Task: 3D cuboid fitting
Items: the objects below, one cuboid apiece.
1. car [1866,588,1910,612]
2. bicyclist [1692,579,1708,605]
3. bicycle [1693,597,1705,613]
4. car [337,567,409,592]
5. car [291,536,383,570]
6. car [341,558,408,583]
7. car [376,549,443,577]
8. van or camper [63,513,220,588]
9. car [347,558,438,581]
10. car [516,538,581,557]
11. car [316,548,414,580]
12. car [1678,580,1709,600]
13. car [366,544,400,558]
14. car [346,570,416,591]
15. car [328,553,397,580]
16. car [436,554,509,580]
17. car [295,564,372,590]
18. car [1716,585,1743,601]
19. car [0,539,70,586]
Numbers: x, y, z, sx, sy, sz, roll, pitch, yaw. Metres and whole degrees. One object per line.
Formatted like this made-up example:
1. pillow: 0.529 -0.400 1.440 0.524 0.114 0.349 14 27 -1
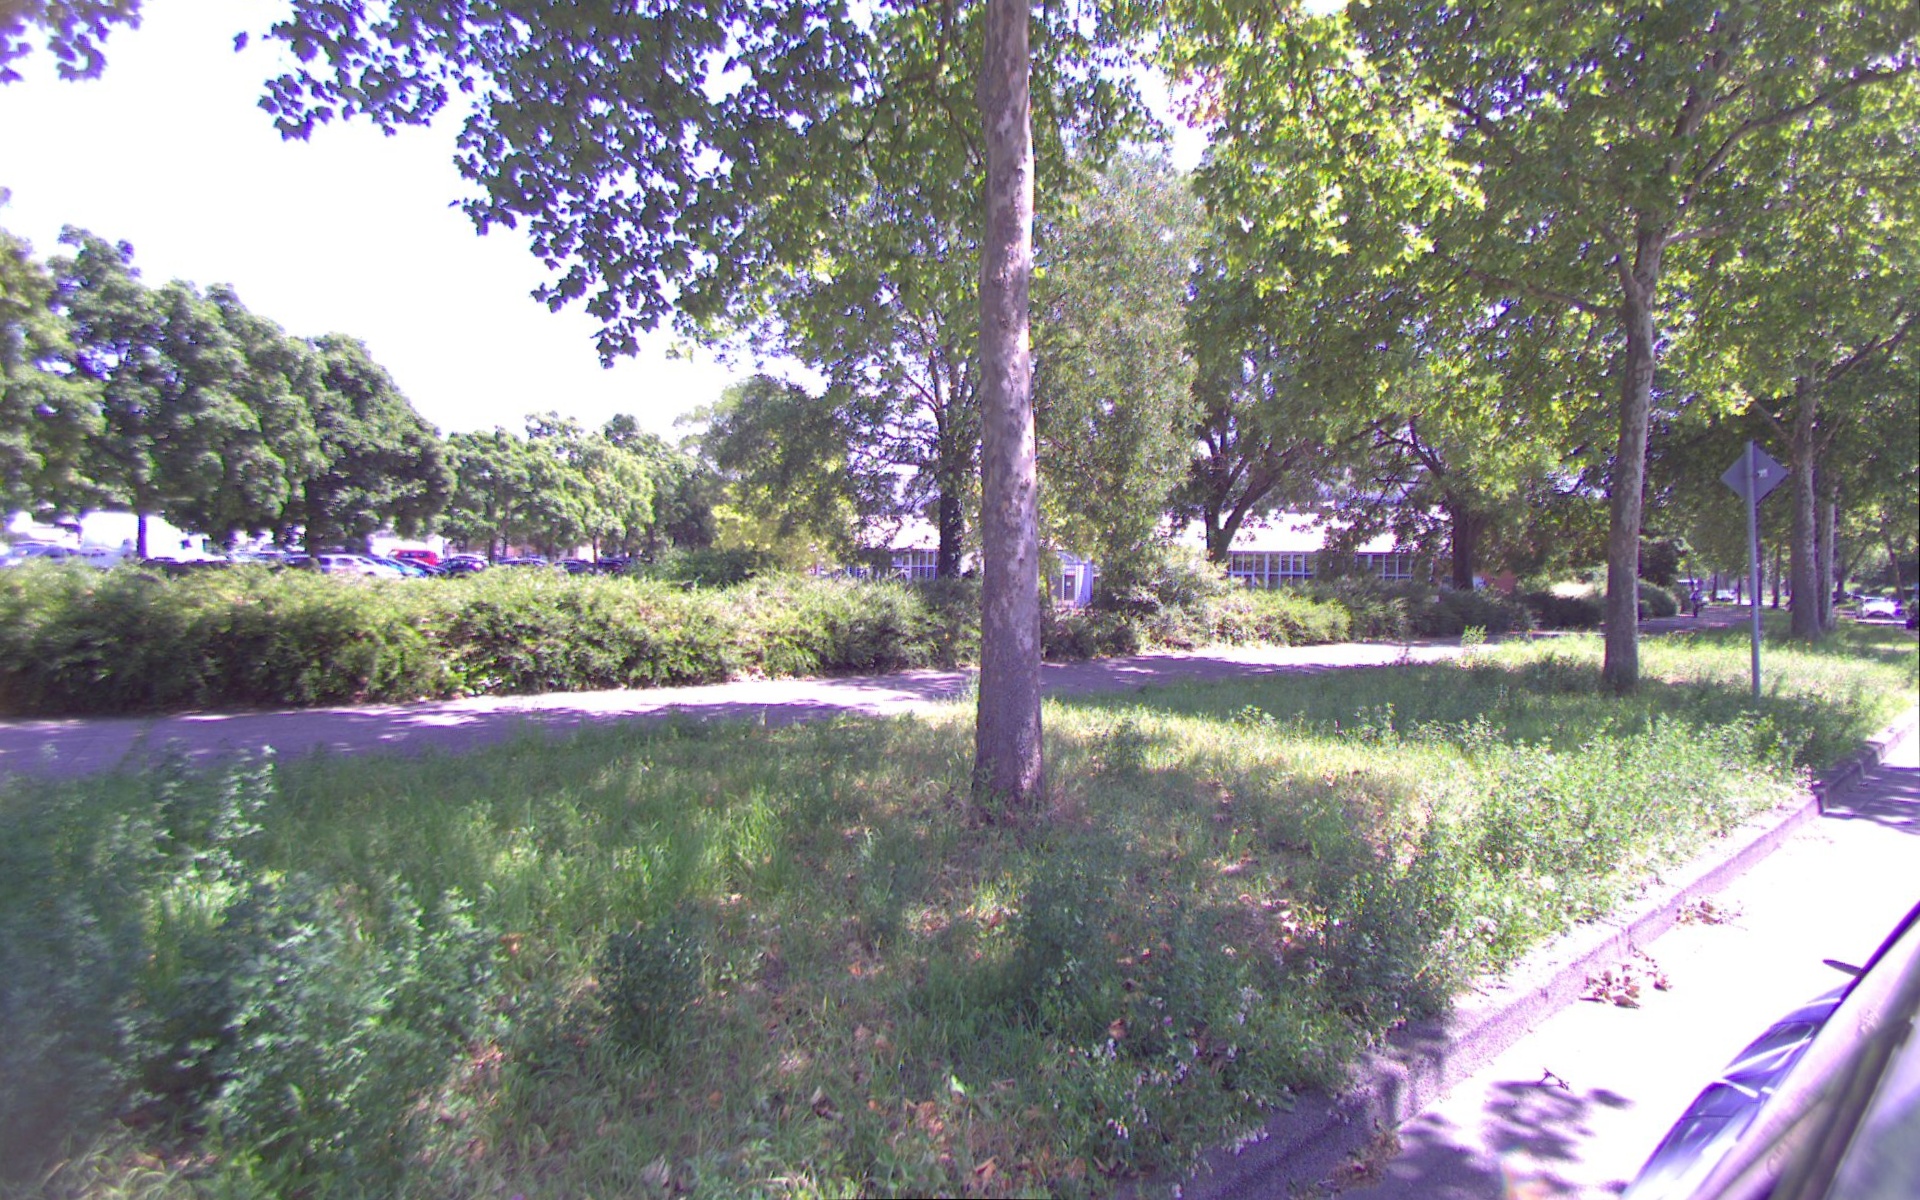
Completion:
1. car: 60.184 -0.029 65.697 1.614 1.463 3.605 2 2 35
2. bicyclist: 38.721 -0.415 52.960 0.598 1.355 0.657 2 1 39
3. bicycle: 38.691 0.256 52.987 0.463 0.773 1.645 2 1 38
4. car: -25.467 -0.886 43.957 2.547 0.999 0.955 1 1 -8
5. car: -38.791 -2.907 63.145 4.334 2.039 2.249 1 1 -5
6. car: -27.683 -1.381 47.884 2.547 1.141 0.955 1 1 -8
7. car: -40.960 -2.746 75.401 3.919 2.039 1.970 1 1 -6
8. van or camper: -32.480 -1.918 40.393 2.161 2.785 5.131 1 2 0
9. car: -27.491 -1.466 49.125 3.494 1.047 1.685 1 2 -8
10. car: -62.636 -8.004 154.166 8.647 2.620 3.054 1 1 -9
11. car: -27.323 -1.626 46.584 3.501 1.241 1.622 3 0 -8
12. car: 99.843 -1.413 137.783 2.897 2.687 6.295 1 2 32
13. car: -69.922 -5.931 122.621 1.433 1.638 3.326 2 2 35
14. car: -25.835 -0.879 45.206 2.547 0.852 0.955 1 1 -8
15. car: -27.506 -1.542 46.624 2.547 1.141 1.008 1 1 -8
16. car: -27.877 -1.877 57.950 3.357 1.383 1.720 1 1 -8
17. car: -26.268 -0.959 42.471 2.547 1.049 0.955 1 1 -8
18. car: 90.289 -0.872 118.818 1.984 1.816 3.958 2 1 30
19. car: -36.515 -1.434 38.425 1.919 1.739 4.073 1 1 -1
